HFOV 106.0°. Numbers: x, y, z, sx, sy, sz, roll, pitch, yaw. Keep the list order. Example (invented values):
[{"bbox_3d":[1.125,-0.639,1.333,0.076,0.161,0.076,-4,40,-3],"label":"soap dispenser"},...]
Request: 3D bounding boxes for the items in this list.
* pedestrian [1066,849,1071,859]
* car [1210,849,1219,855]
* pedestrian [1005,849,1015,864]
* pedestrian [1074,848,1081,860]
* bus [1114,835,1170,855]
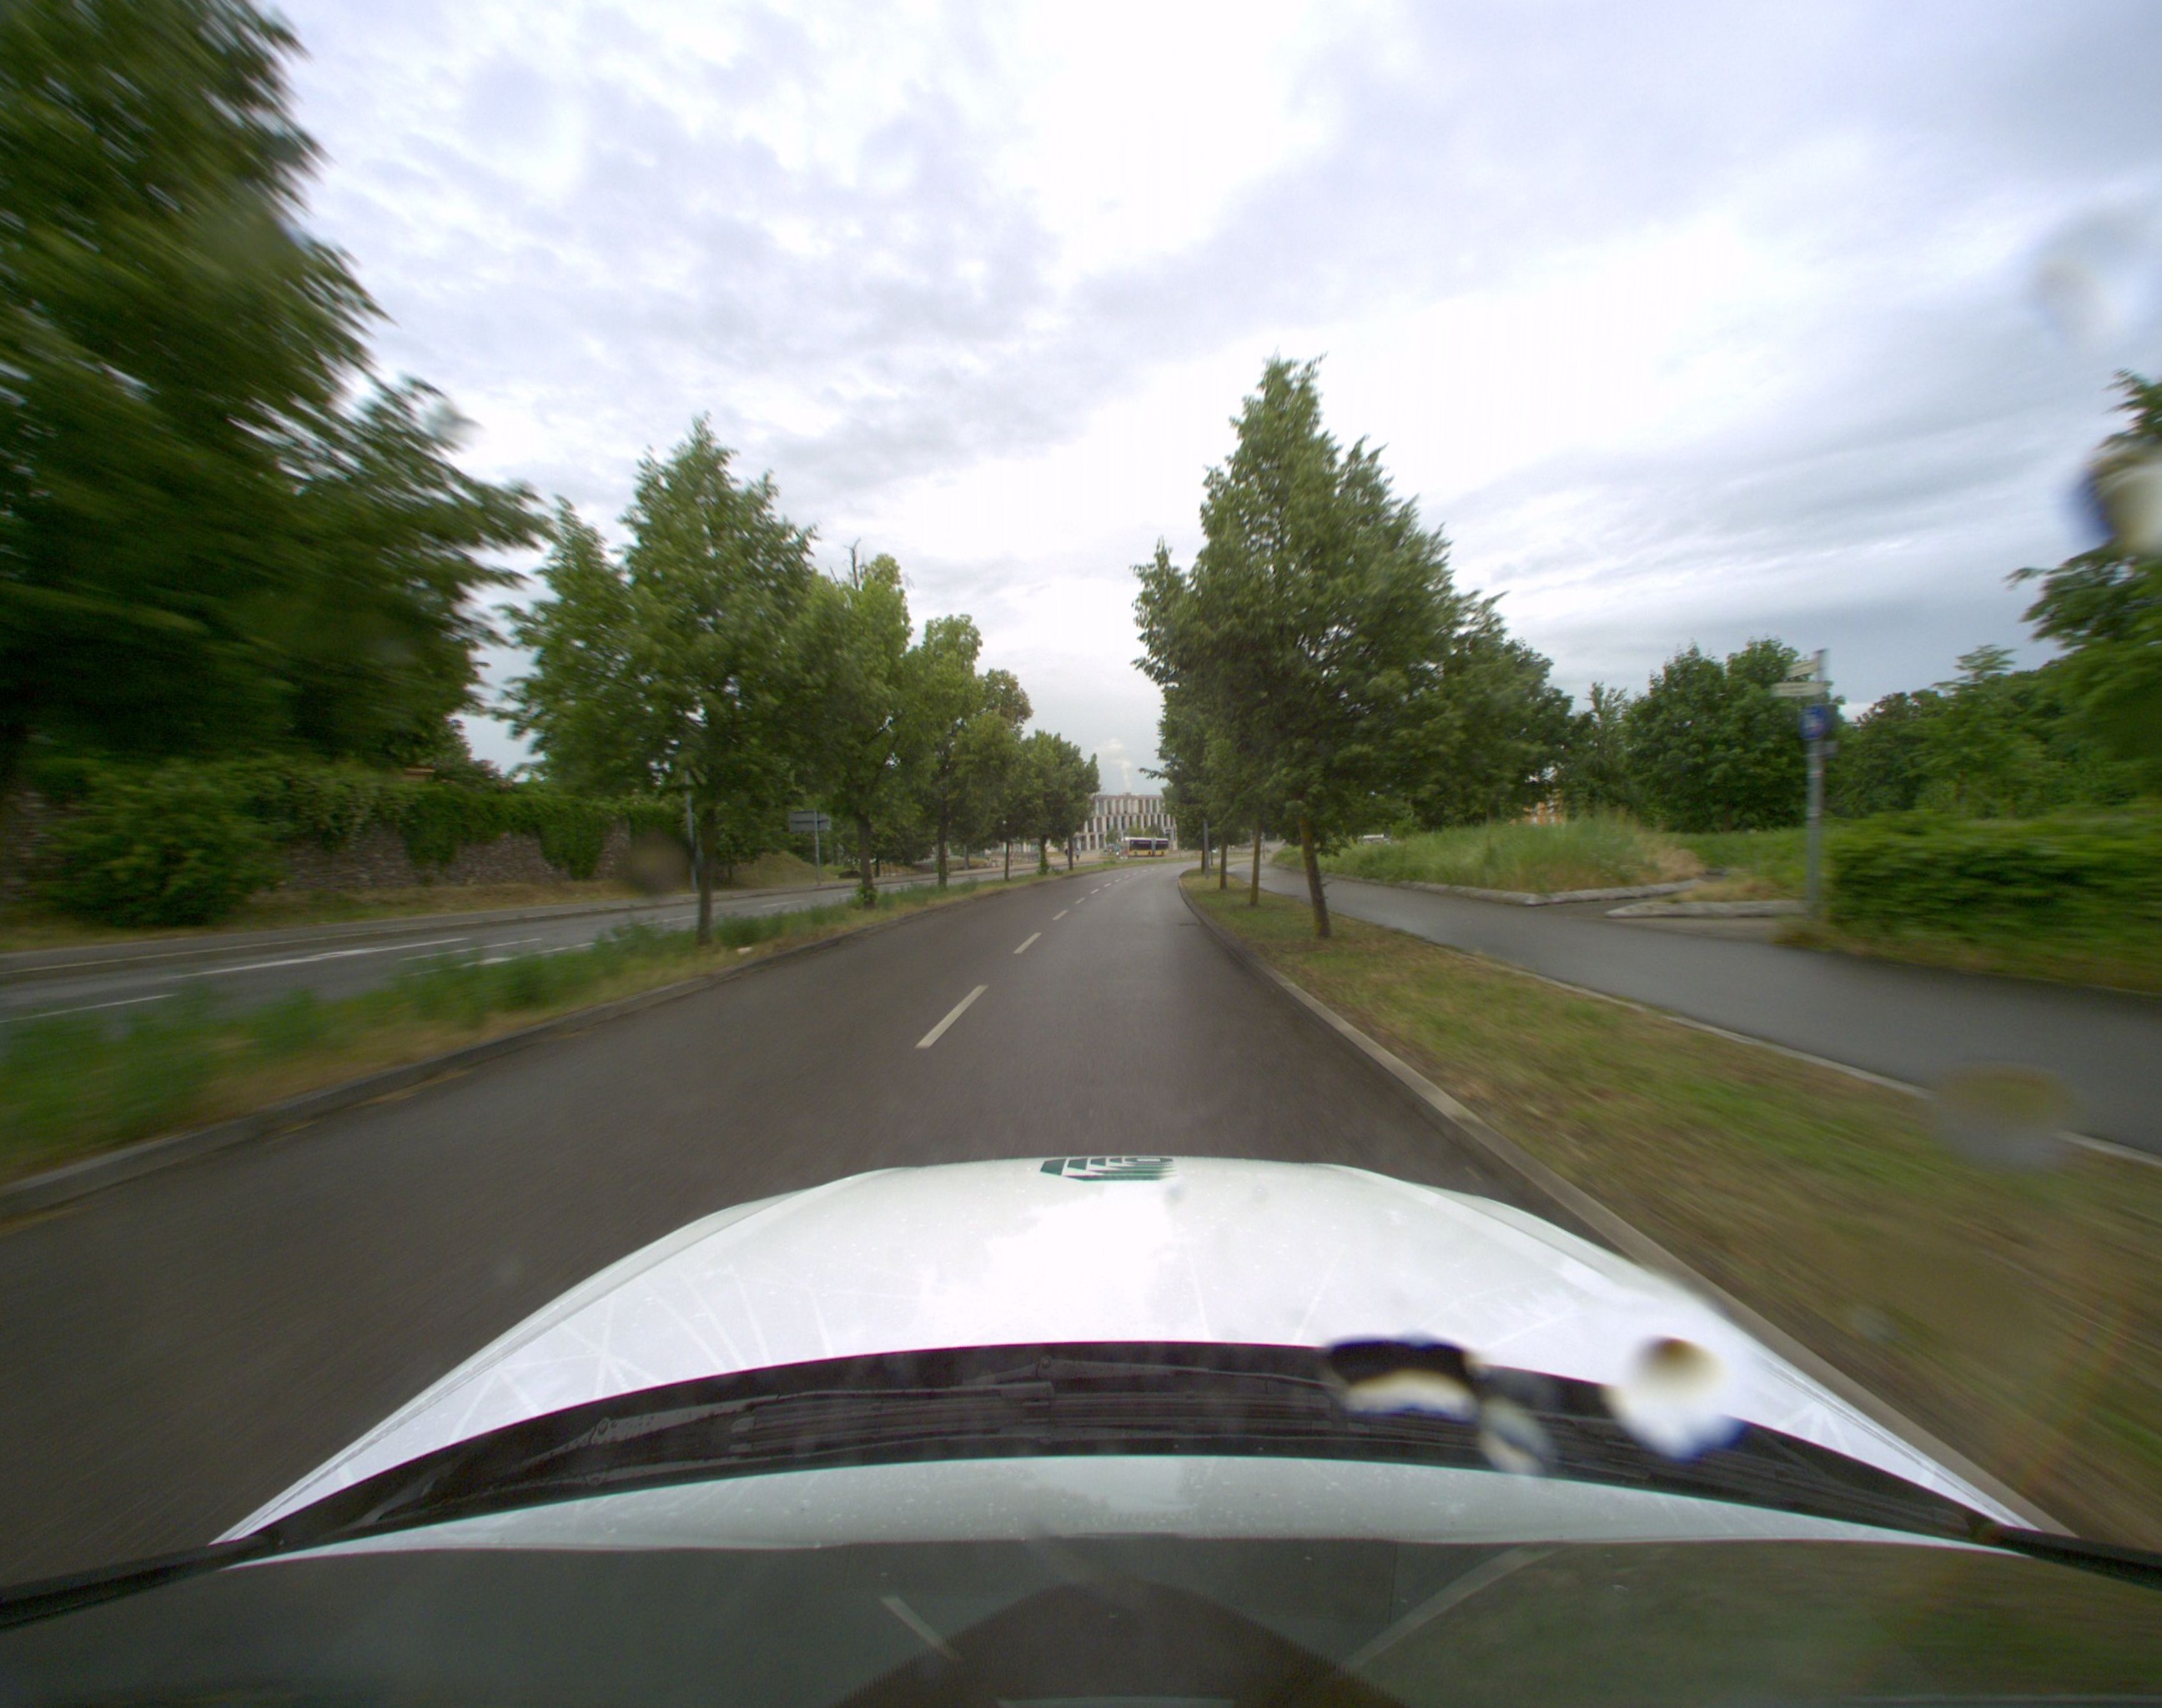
[{"bbox_3d":[-2.048,-0.045,131.063,0.679,1.524,0.720,-1,-1,3],"label":"pedestrian"},{"bbox_3d":[30.485,-0.458,185.774,1.464,1.494,2.545,-2,-1,27],"label":"car"},{"bbox_3d":[-7.940,0.301,91.319,0.808,1.621,0.939,-1,-1,14],"label":"pedestrian"},{"bbox_3d":[-0.511,0.053,108.320,0.832,1.573,0.718,-1,-1,-3],"label":"pedestrian"},{"bbox_3d":[11.372,-1.478,147.306,2.758,3.357,18.337,-2,-1,28],"label":"bus"}]
